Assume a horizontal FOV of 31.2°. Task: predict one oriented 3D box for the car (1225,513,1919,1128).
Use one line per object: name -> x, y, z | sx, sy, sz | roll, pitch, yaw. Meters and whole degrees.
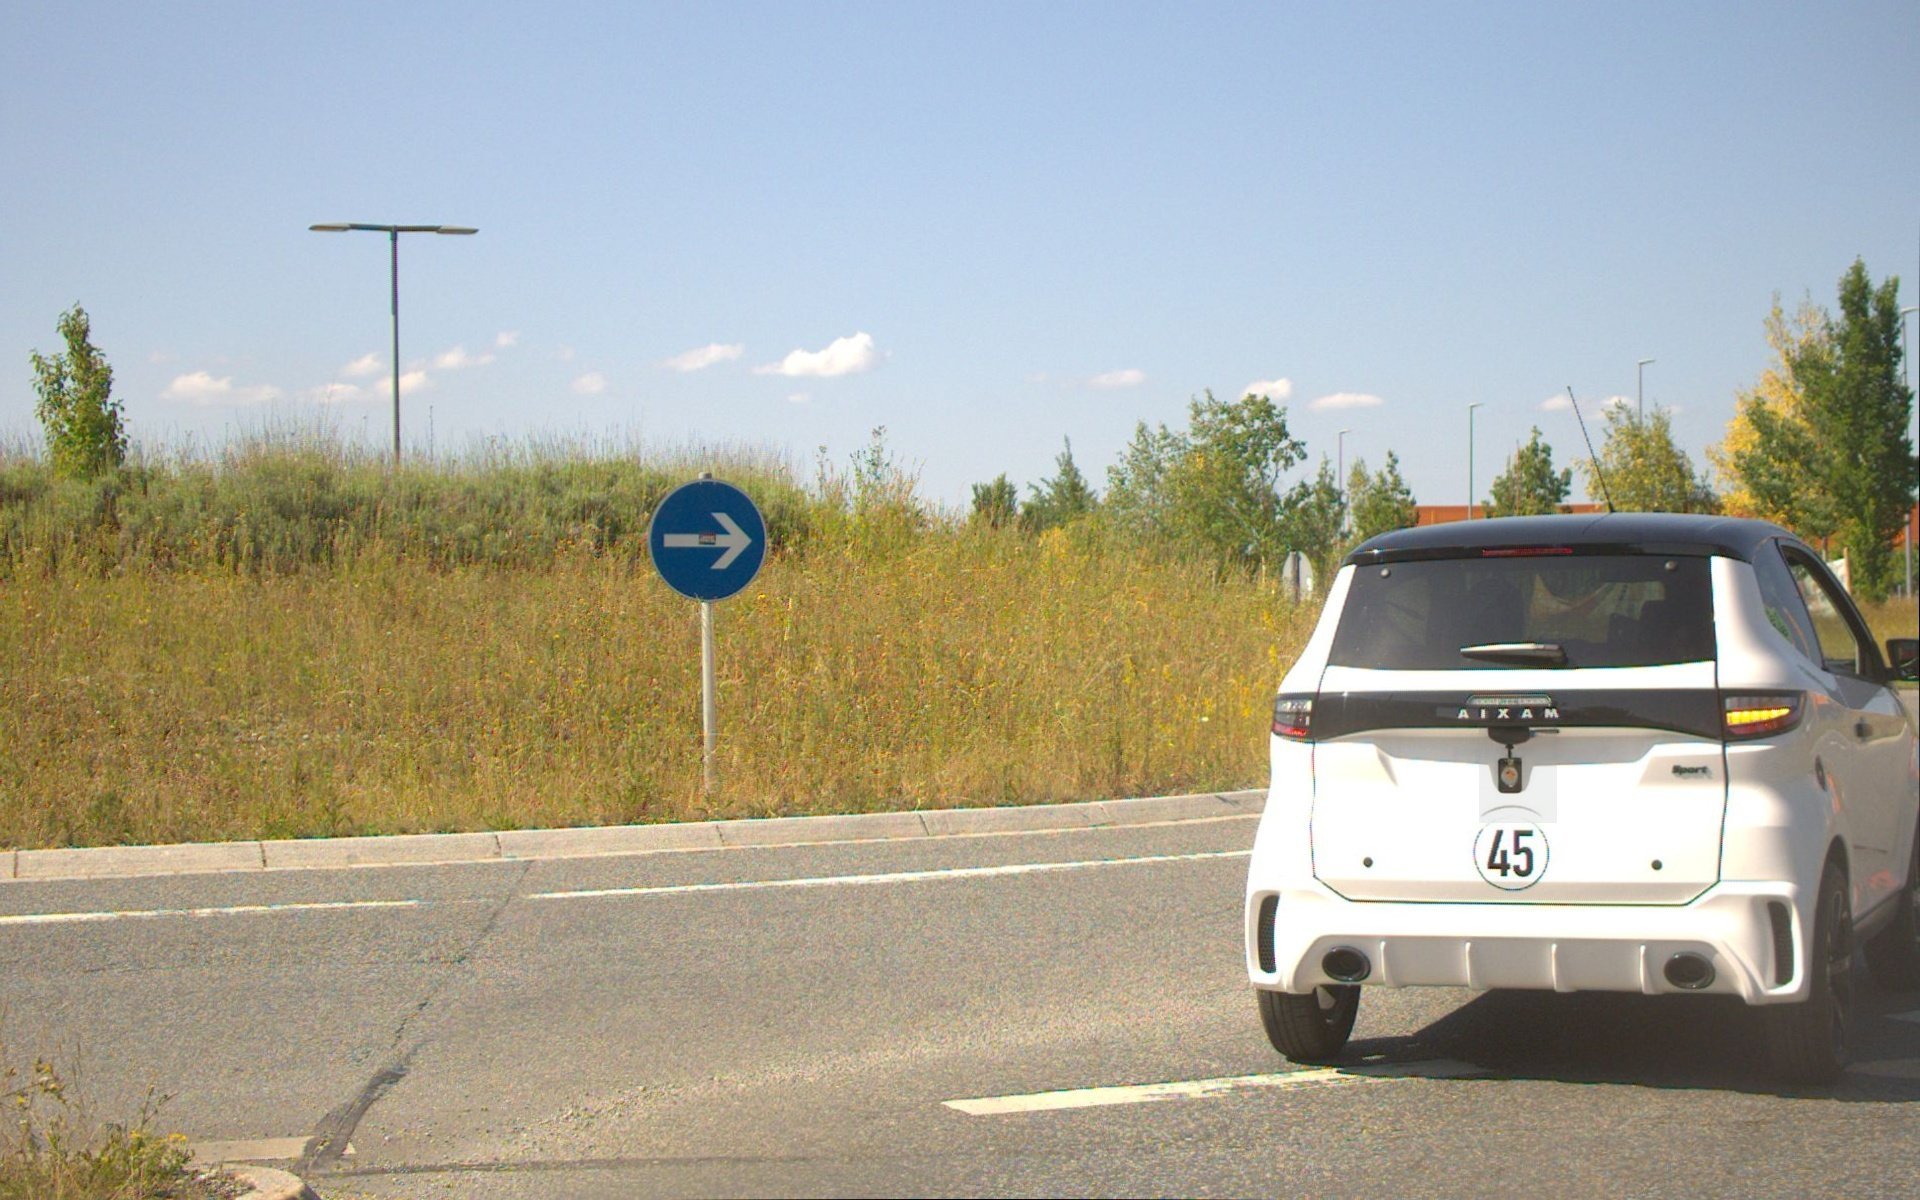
car -> 2.002, 0.483, 10.067 | 1.511, 1.435, 3.347 | 1, 2, 22
